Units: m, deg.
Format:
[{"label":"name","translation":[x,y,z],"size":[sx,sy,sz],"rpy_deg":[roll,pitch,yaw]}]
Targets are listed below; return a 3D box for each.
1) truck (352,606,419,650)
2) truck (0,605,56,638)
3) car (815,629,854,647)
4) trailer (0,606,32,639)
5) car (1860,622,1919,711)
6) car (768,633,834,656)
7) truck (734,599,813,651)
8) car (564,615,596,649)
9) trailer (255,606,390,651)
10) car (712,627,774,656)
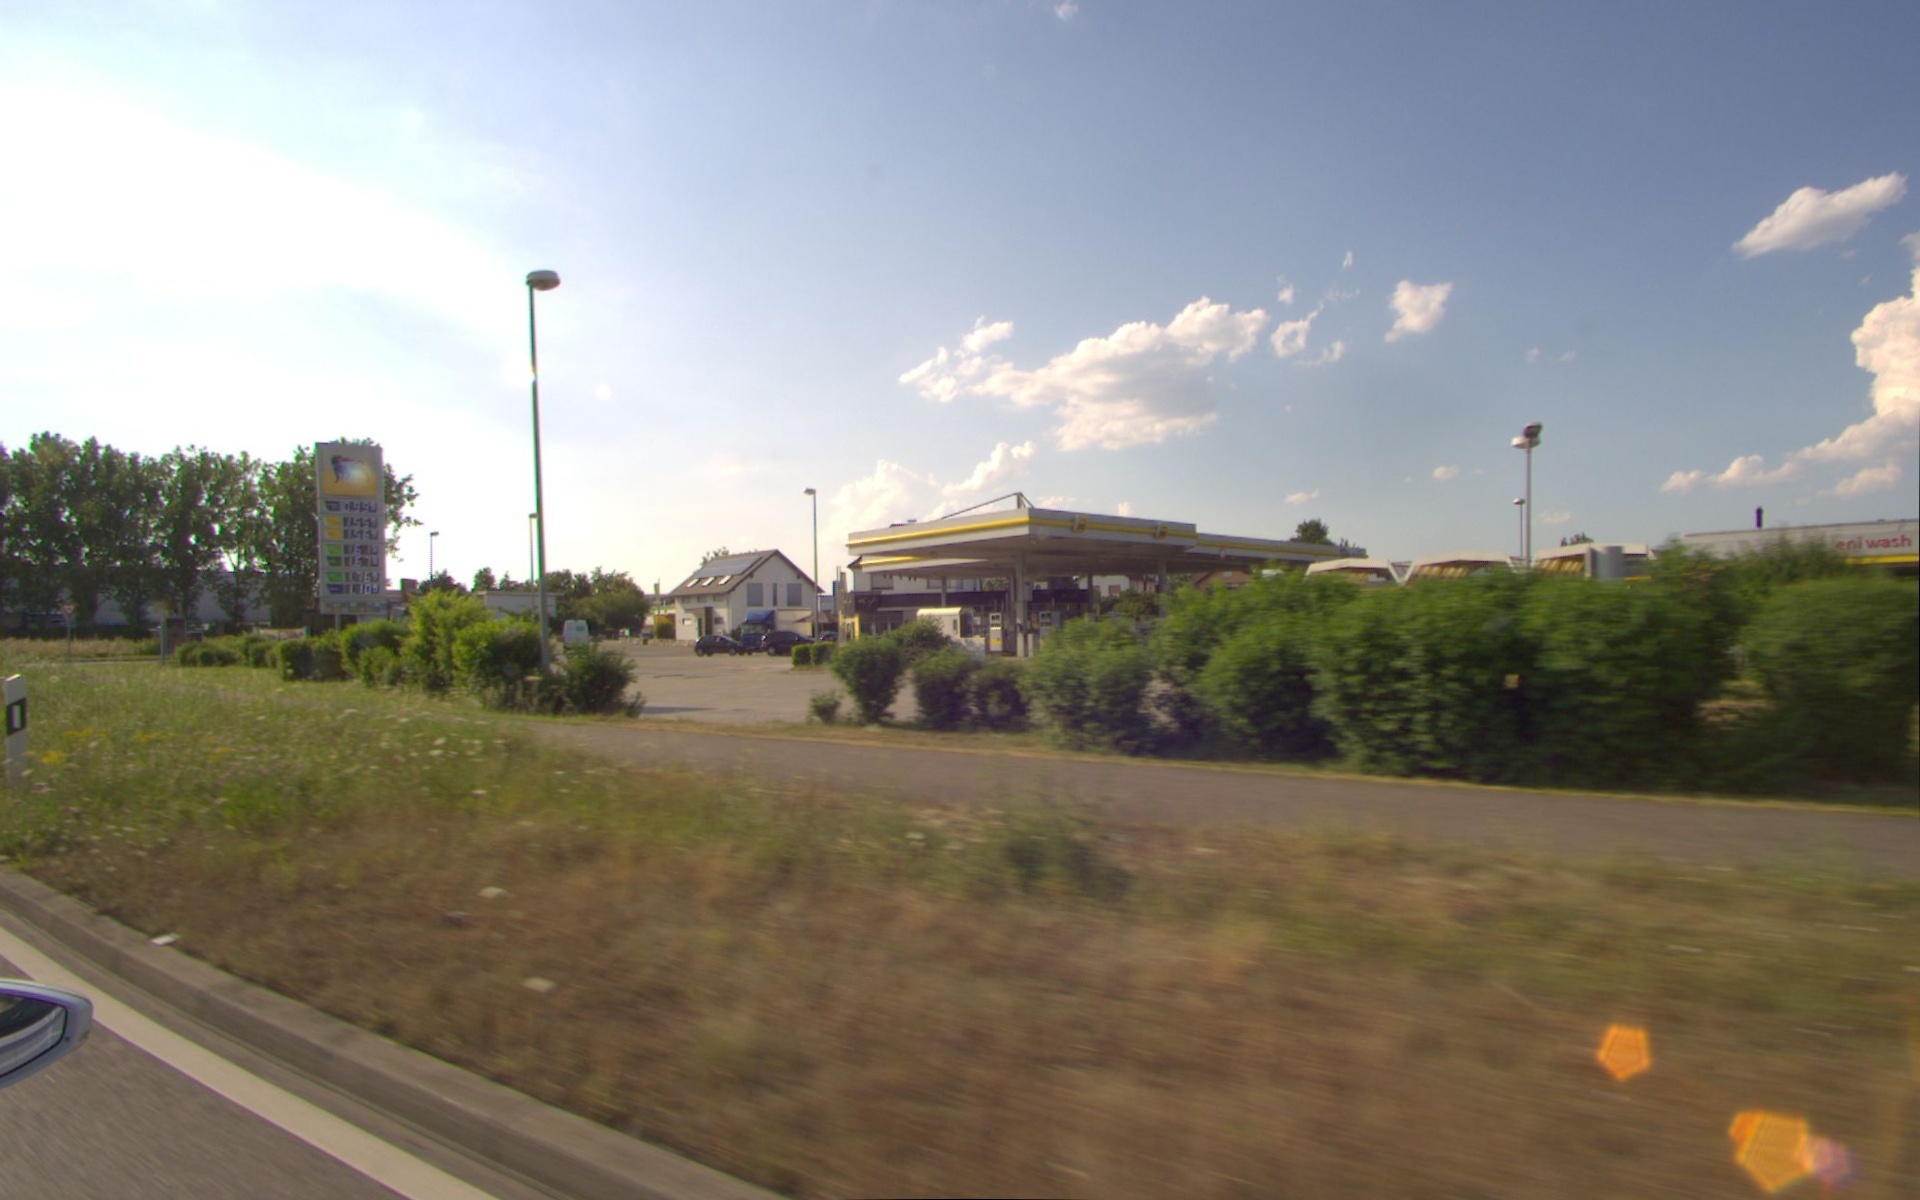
[{"label":"truck","translation":[-52.562,2.588,91.621],"size":[5.021,3.963,2.251],"rpy_deg":[-1,-3,11]},{"label":"truck","translation":[-97.711,2.253,104.250],"size":[5.604,3.200,2.629],"rpy_deg":[-2,-3,13]},{"label":"car","translation":[-12.387,3.756,98.950],"size":[1.827,1.648,3.576],"rpy_deg":[-2,-5,37]},{"label":"trailer","translation":[-104.652,2.553,105.927],"size":[13.026,3.179,2.692],"rpy_deg":[-2,-3,14]},{"label":"car","translation":[24.601,1.663,25.115],"size":[1.889,2.140,3.682],"rpy_deg":[-2,-4,24]},{"label":"car","translation":[-11.437,3.224,72.300],"size":[4.337,1.654,1.851],"rpy_deg":[-1,-3,8]},{"label":"truck","translation":[-14.507,2.062,78.653],"size":[2.717,3.733,8.007],"rpy_deg":[-1,-4,17]},{"label":"car","translation":[-31.204,2.658,82.128],"size":[2.200,2.549,6.803],"rpy_deg":[1,-4,-23]},{"label":"trailer","translation":[-59.481,2.718,93.373],"size":[13.473,3.963,2.249],"rpy_deg":[-1,-3,16]},{"label":"car","translation":[-15.939,3.053,73.693],"size":[4.011,2.038,1.770],"rpy_deg":[0,-4,12]}]
